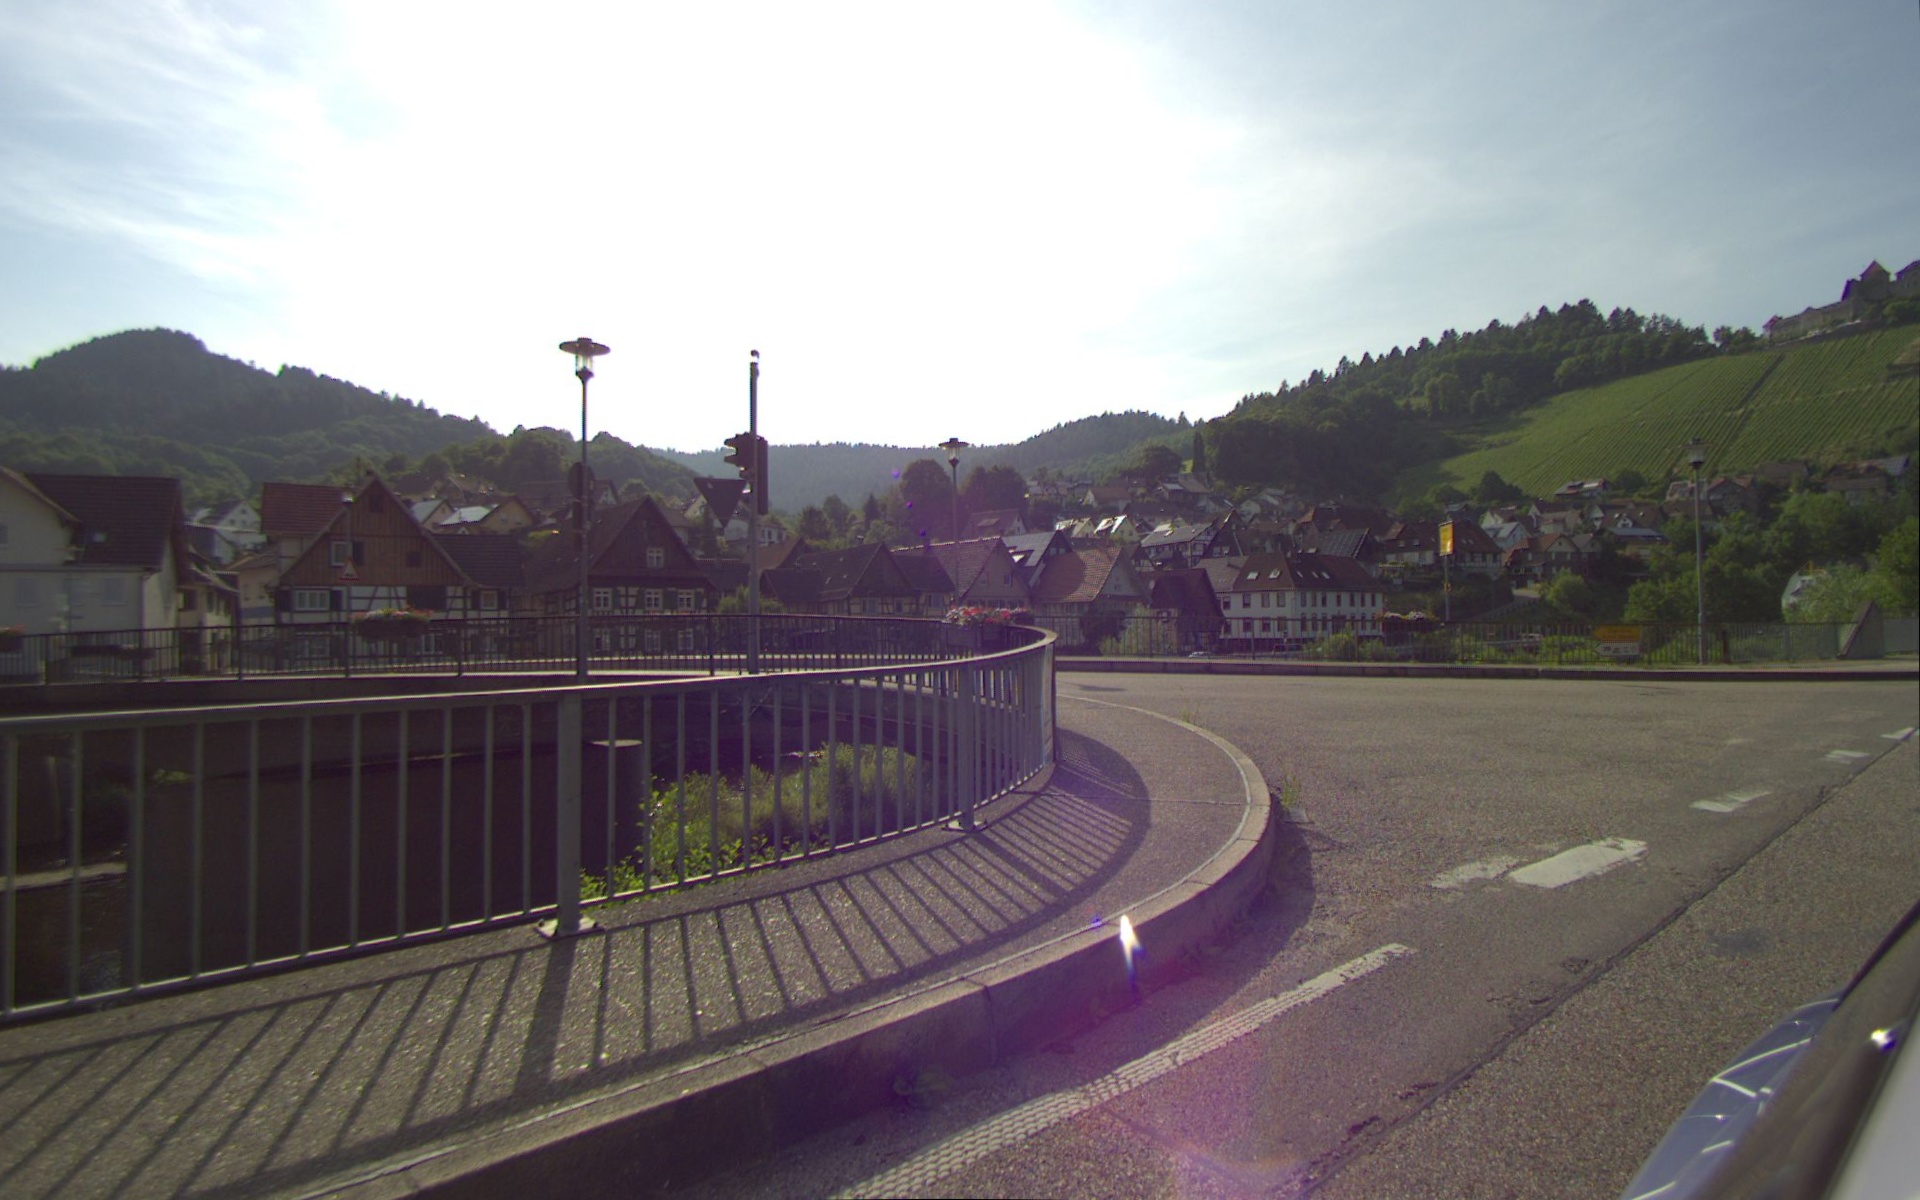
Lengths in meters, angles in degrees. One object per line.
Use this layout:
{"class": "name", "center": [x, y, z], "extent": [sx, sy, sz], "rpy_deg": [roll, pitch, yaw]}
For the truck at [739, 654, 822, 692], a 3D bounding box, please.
{"class": "truck", "center": [-11.041, 4.486, 62.444], "extent": [4.642, 2.039, 1.997], "rpy_deg": [1, 0, -40]}
